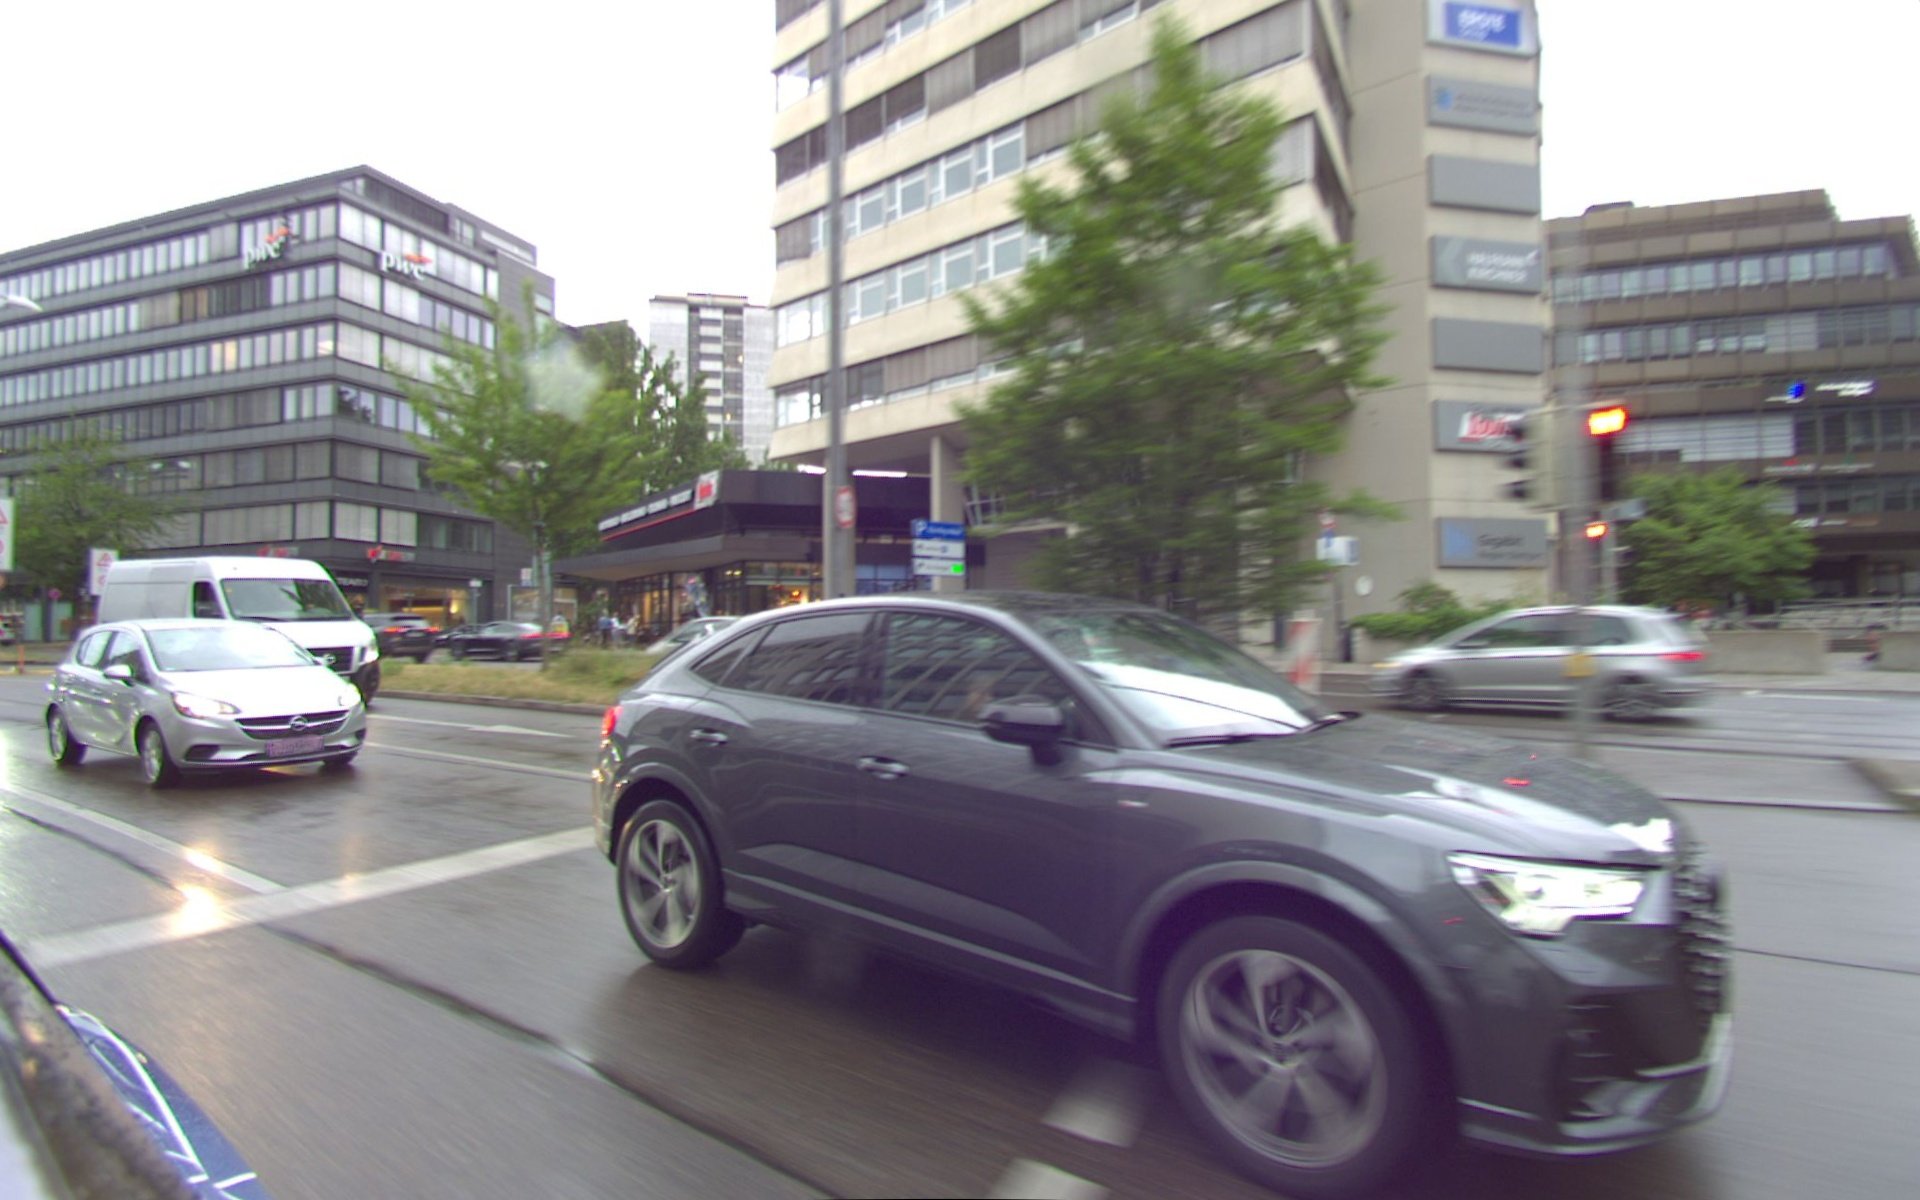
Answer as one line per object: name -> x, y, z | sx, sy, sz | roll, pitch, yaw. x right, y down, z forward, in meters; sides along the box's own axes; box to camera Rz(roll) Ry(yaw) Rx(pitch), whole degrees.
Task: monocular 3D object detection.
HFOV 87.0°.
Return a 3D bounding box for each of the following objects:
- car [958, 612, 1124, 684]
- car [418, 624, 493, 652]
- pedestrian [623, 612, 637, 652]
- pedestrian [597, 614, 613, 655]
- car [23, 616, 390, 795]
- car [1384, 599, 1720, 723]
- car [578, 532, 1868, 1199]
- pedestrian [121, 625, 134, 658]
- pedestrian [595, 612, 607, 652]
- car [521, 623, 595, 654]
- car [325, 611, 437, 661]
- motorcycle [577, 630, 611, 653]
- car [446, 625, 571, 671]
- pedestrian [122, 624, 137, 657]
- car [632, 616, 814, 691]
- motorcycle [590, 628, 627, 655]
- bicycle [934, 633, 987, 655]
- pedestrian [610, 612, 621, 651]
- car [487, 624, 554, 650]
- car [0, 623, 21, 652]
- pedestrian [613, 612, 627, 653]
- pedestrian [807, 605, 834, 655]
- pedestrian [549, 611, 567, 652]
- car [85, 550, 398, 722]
car -> 1.935, 1.089, 24.451 | 3.709, 1.583, 1.624 | 0, 0, 35
car -> -29.737, 2.222, 59.723 | 1.836, 1.596, 3.737 | -1, -1, 21
pedestrian -> -14.745, 1.428, 45.282 | 0.470, 1.785, 0.422 | -2, -2, 44
pedestrian -> -15.545, 1.507, 44.295 | 0.405, 1.785, 0.549 | -2, -1, 43
car -> -7.519, 0.905, 10.015 | 3.862, 1.446, 1.636 | -1, -1, 32
car -> 8.610, 0.822, 14.907 | 4.081, 1.593, 1.628 | -1, -1, 39
car -> 0.461, 0.679, 3.792 | 4.267, 1.533, 1.632 | -1, -1, 39
pedestrian -> -50.815, 2.537, 61.767 | 0.295, 2.029, 0.537 | -1, -1, 19
pedestrian -> -15.940, 1.430, 44.966 | 0.437, 1.785, 0.323 | -2, -1, 42
car -> -22.540, 2.136, 56.815 | 1.836, 1.596, 3.737 | -1, -1, 21
car -> -19.101, 1.166, 33.321 | 4.143, 1.547, 1.629 | -1, -1, 35
motorcycle -> -18.580, 2.099, 51.342 | 1.597, 1.153, 0.361 | 0, -1, -24
car -> -15.527, 1.607, 34.739 | 4.398, 1.389, 1.848 | 0, 0, 33
pedestrian -> -51.753, 2.534, 63.083 | 0.458, 2.029, 0.571 | -1, -1, 19
car -> -5.022, 1.057, 21.251 | 3.862, 1.396, 1.674 | 0, 0, 37
motorcycle -> -16.901, 1.990, 48.648 | 1.641, 1.242, 0.361 | 0, -1, -15
bicycle -> 0.030, 1.784, 41.322 | 2.178, 0.866, 0.456 | 0, 0, 25
pedestrian -> -15.684, 1.432, 46.069 | 0.358, 1.785, 0.323 | -2, -2, 44
car -> -27.949, 2.332, 64.440 | 1.836, 1.596, 3.737 | -1, -1, 21
car -> -53.108, 2.026, 54.599 | 3.970, 1.518, 1.987 | -1, -1, 20
pedestrian -> -15.069, 1.427, 44.887 | 0.470, 1.785, 0.422 | -2, -2, 44
pedestrian -> -4.830, 1.027, 35.058 | 0.755, 1.696, 0.677 | -1, -1, 11
pedestrian -> -17.678, 1.362, 44.520 | 0.550, 1.785, 0.529 | -2, -1, 44
car -> -11.809, 0.557, 16.542 | 5.454, 2.459, 1.934 | -1, -1, 28
